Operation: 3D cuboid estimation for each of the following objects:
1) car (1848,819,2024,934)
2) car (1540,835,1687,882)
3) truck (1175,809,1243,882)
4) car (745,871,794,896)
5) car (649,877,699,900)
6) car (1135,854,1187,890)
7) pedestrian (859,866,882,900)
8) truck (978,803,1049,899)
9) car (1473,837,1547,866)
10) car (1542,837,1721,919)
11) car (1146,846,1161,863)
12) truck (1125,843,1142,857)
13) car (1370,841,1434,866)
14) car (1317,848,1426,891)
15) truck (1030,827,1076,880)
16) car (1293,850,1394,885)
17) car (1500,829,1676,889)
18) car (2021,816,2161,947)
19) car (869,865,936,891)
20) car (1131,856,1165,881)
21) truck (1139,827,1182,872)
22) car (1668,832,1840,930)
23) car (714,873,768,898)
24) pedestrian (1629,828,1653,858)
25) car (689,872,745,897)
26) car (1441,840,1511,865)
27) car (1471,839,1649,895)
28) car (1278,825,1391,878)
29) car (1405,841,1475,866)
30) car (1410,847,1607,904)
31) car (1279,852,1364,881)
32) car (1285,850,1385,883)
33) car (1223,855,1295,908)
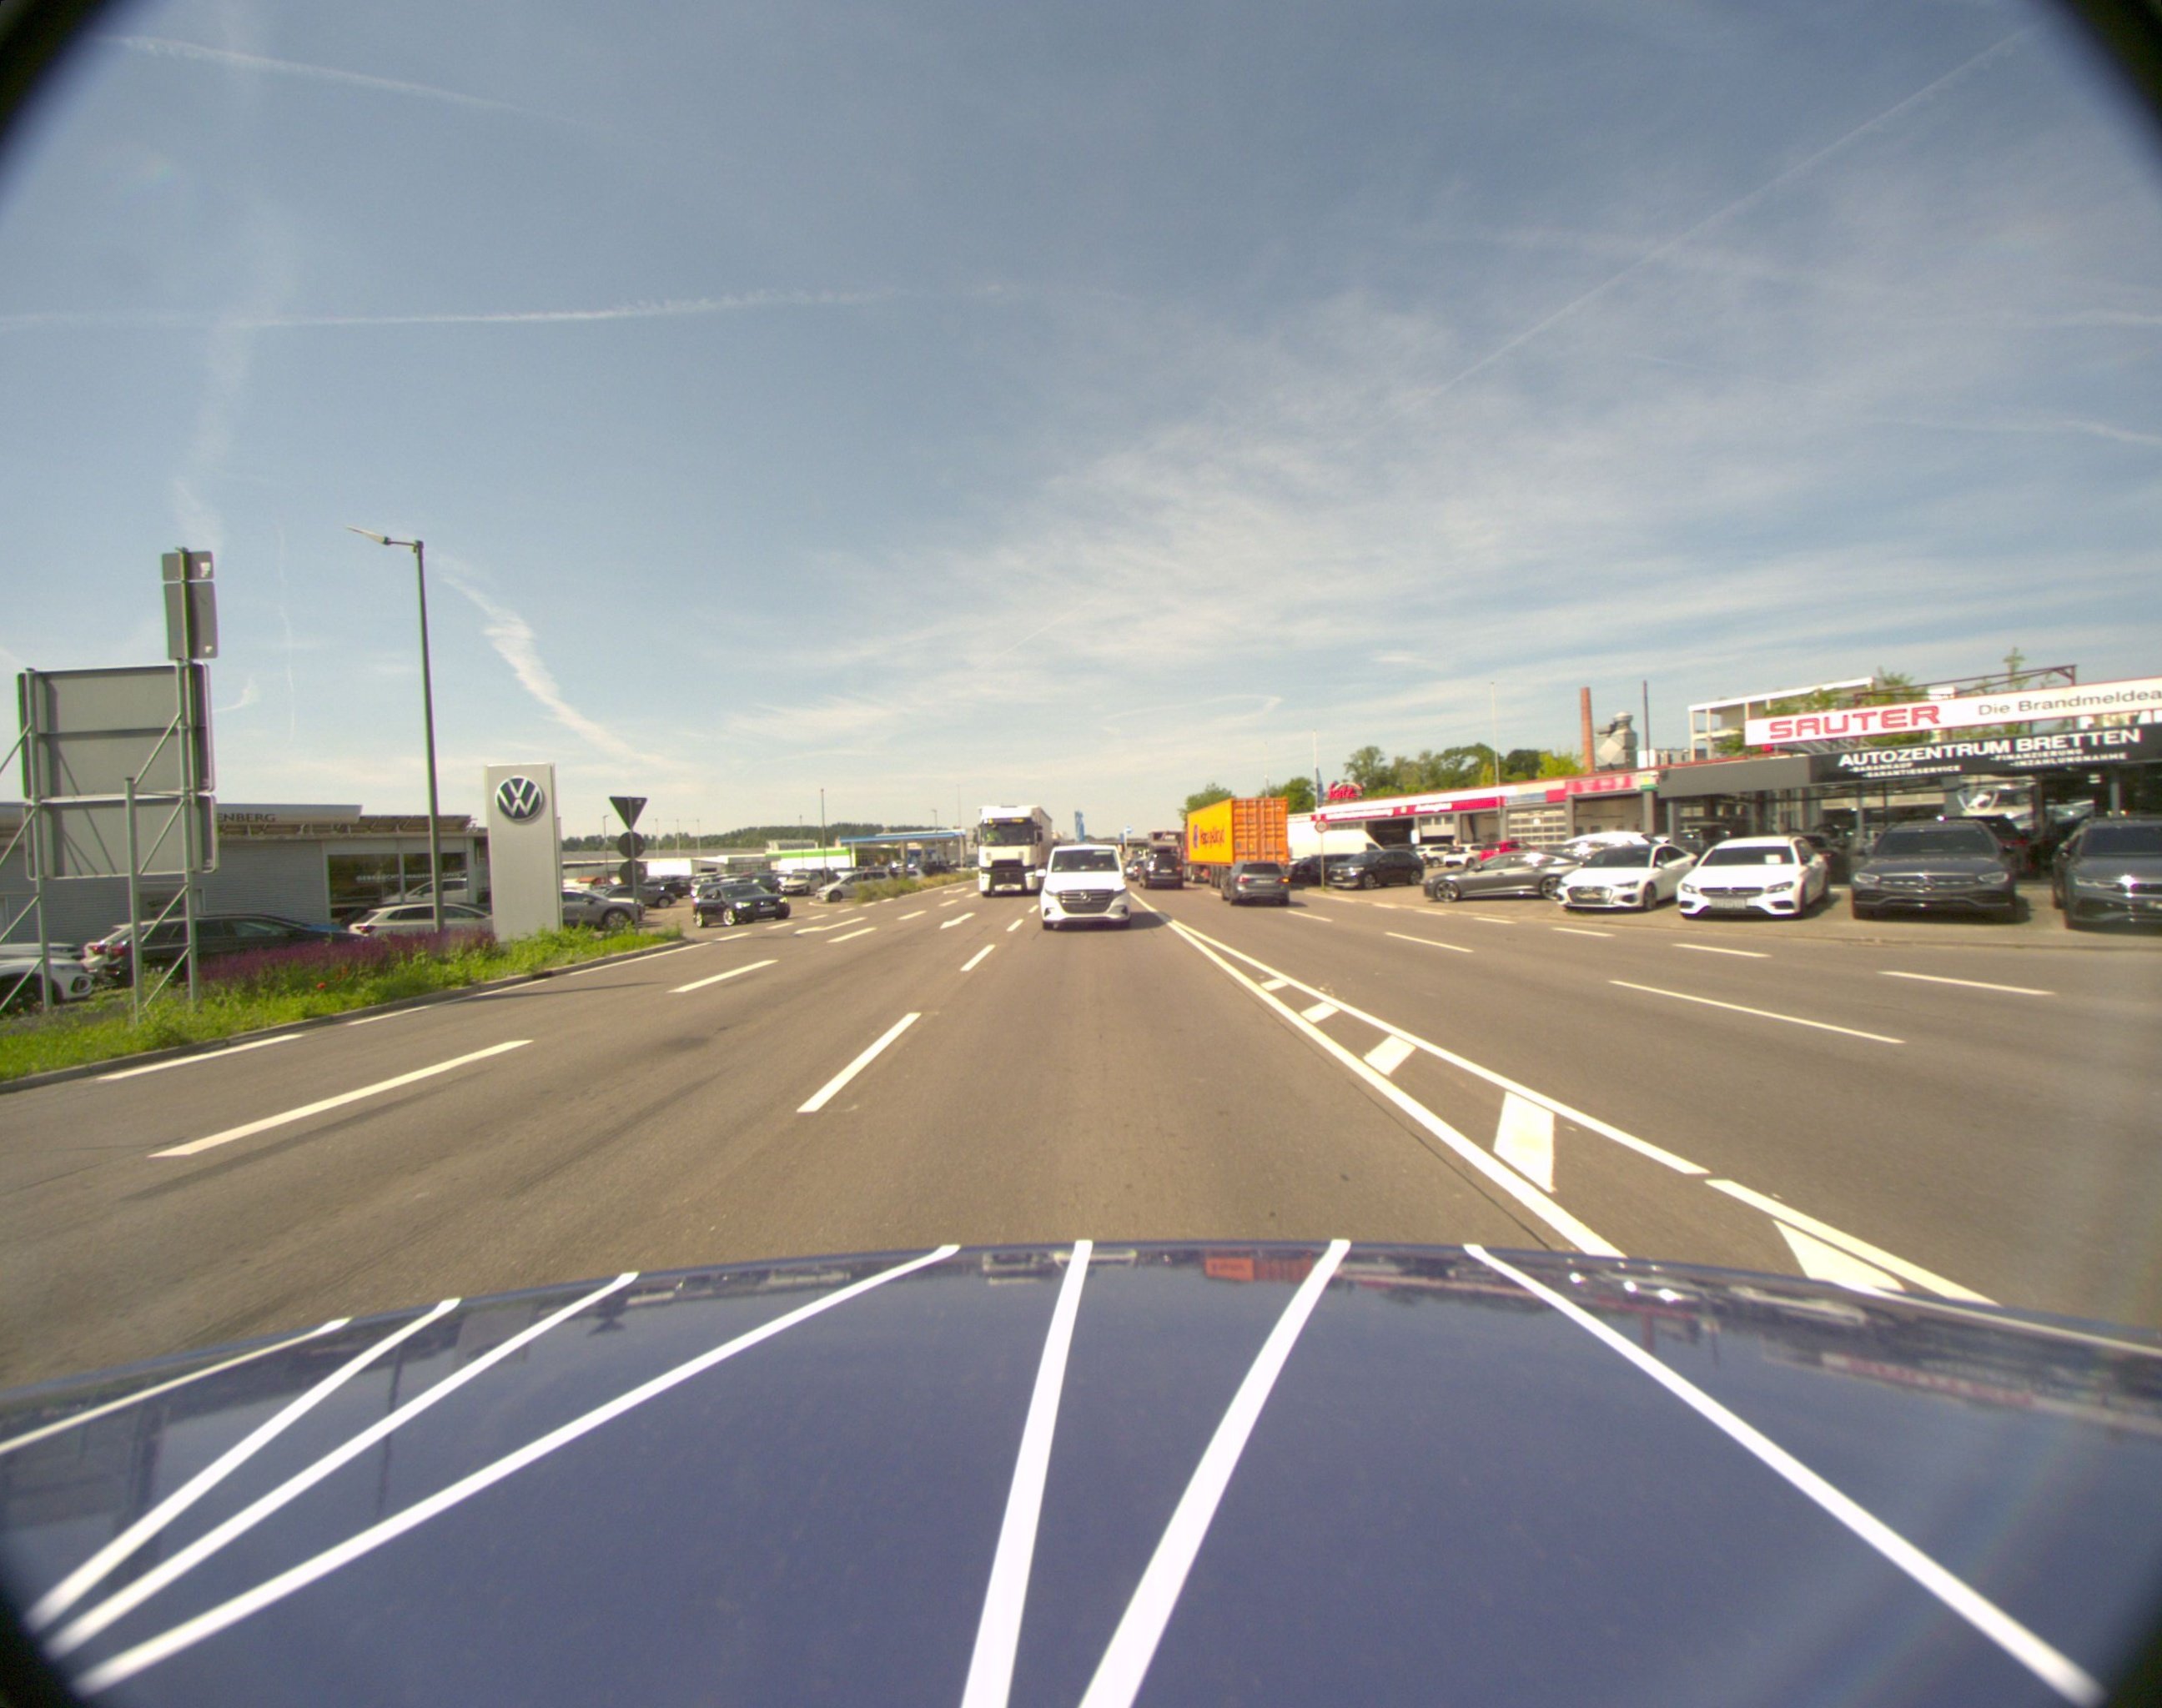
[{"bbox_3d":[16.050,0.315,14.296,4.804,1.617,1.927,-6,2,-41],"label":"car"},{"bbox_3d":[19.857,0.191,28.444,1.831,1.515,4.133,-3,0,-43],"label":"car"},{"bbox_3d":[7.487,-0.464,45.364,2.728,3.975,6.055,-2,0,-2],"label":"truck"},{"bbox_3d":[-23.342,2.211,57.133,1.969,1.645,4.536,-2,0,-3],"label":"car"},{"bbox_3d":[-33.737,2.813,63.125,1.775,1.645,4.536,-2,0,-3],"label":"car"},{"bbox_3d":[3.815,0.843,36.986,1.913,1.592,4.588,0,0,-2],"label":"car"},{"bbox_3d":[-12.022,1.623,43.365,0.990,1.900,0.742,-2,1,-33],"label":"pedestrian"},{"bbox_3d":[-2.955,-0.124,34.861,2.647,3.963,6.041,-2,0,0],"label":"truck"},{"bbox_3d":[26.687,-0.161,47.267,4.004,1.608,1.914,-2,0,-22],"label":"car"},{"bbox_3d":[13.539,0.523,18.600,4.722,1.467,1.888,-5,1,-33],"label":"car"},{"bbox_3d":[11.404,0.025,119.673,2.063,2.495,7.118,-2,0,7],"label":"car"},{"bbox_3d":[11.228,-0.811,163.061,2.443,2.820,6.037,-2,0,-8],"label":"truck"},{"bbox_3d":[23.296,-0.042,55.135,4.002,1.610,1.873,-2,0,-17],"label":"car"},{"bbox_3d":[12.424,0.625,32.511,4.189,1.613,2.026,-2,0,-27],"label":"car"},{"bbox_3d":[-2.176,-0.068,62.996,2.646,3.963,9.242,-2,0,5],"label":"truck"},{"bbox_3d":[12.311,0.613,35.800,4.044,1.521,2.031,-2,0,0],"label":"car"},{"bbox_3d":[16.645,0.211,25.111,1.896,1.738,4.458,-3,0,-43],"label":"car"},{"bbox_3d":[16.916,0.330,12.213,4.750,1.616,1.885,-6,1,-43],"label":"car"},{"bbox_3d":[-11.954,1.582,50.864,4.005,1.549,1.709,-2,0,-27],"label":"car"},{"bbox_3d":[4.231,0.881,48.646,1.866,1.515,4.589,-1,0,1],"label":"car"},{"bbox_3d":[7.605,-0.442,73.671,2.718,3.975,9.973,-2,0,-2],"label":"truck"},{"bbox_3d":[14.254,0.489,15.996,4.723,1.504,1.950,-6,1,-39],"label":"car"},{"bbox_3d":[-26.283,2.424,58.903,1.774,1.645,4.540,-2,0,6],"label":"car"},{"bbox_3d":[34.118,-0.669,46.286,0.867,1.717,0.742,-4,1,-16],"label":"pedestrian"},{"bbox_3d":[-28.784,2.411,60.263,1.821,1.719,4.540,-2,0,6],"label":"car"},{"bbox_3d":[25.747,-0.089,49.578,3.948,1.511,1.880,-2,0,-22],"label":"car"},{"bbox_3d":[14.733,0.440,23.512,4.333,1.478,1.802,-4,0,43],"label":"car"},{"bbox_3d":[14.443,-0.103,43.501,5.722,2.821,2.117,-2,0,2],"label":"car"},{"bbox_3d":[24.669,-0.035,52.228,4.002,1.597,1.986,-2,0,-15],"label":"car"},{"bbox_3d":[12.465,0.655,22.361,4.629,1.428,1.978,-4,0,44],"label":"car"},{"bbox_3d":[12.997,0.672,41.219,3.996,1.461,1.881,-2,0,2],"label":"car"},{"bbox_3d":[12.855,0.629,38.663,4.378,1.521,2.029,-2,0,0],"label":"car"},{"bbox_3d":[5.754,0.855,25.087,1.925,1.592,4.592,-1,0,8],"label":"car"}]
